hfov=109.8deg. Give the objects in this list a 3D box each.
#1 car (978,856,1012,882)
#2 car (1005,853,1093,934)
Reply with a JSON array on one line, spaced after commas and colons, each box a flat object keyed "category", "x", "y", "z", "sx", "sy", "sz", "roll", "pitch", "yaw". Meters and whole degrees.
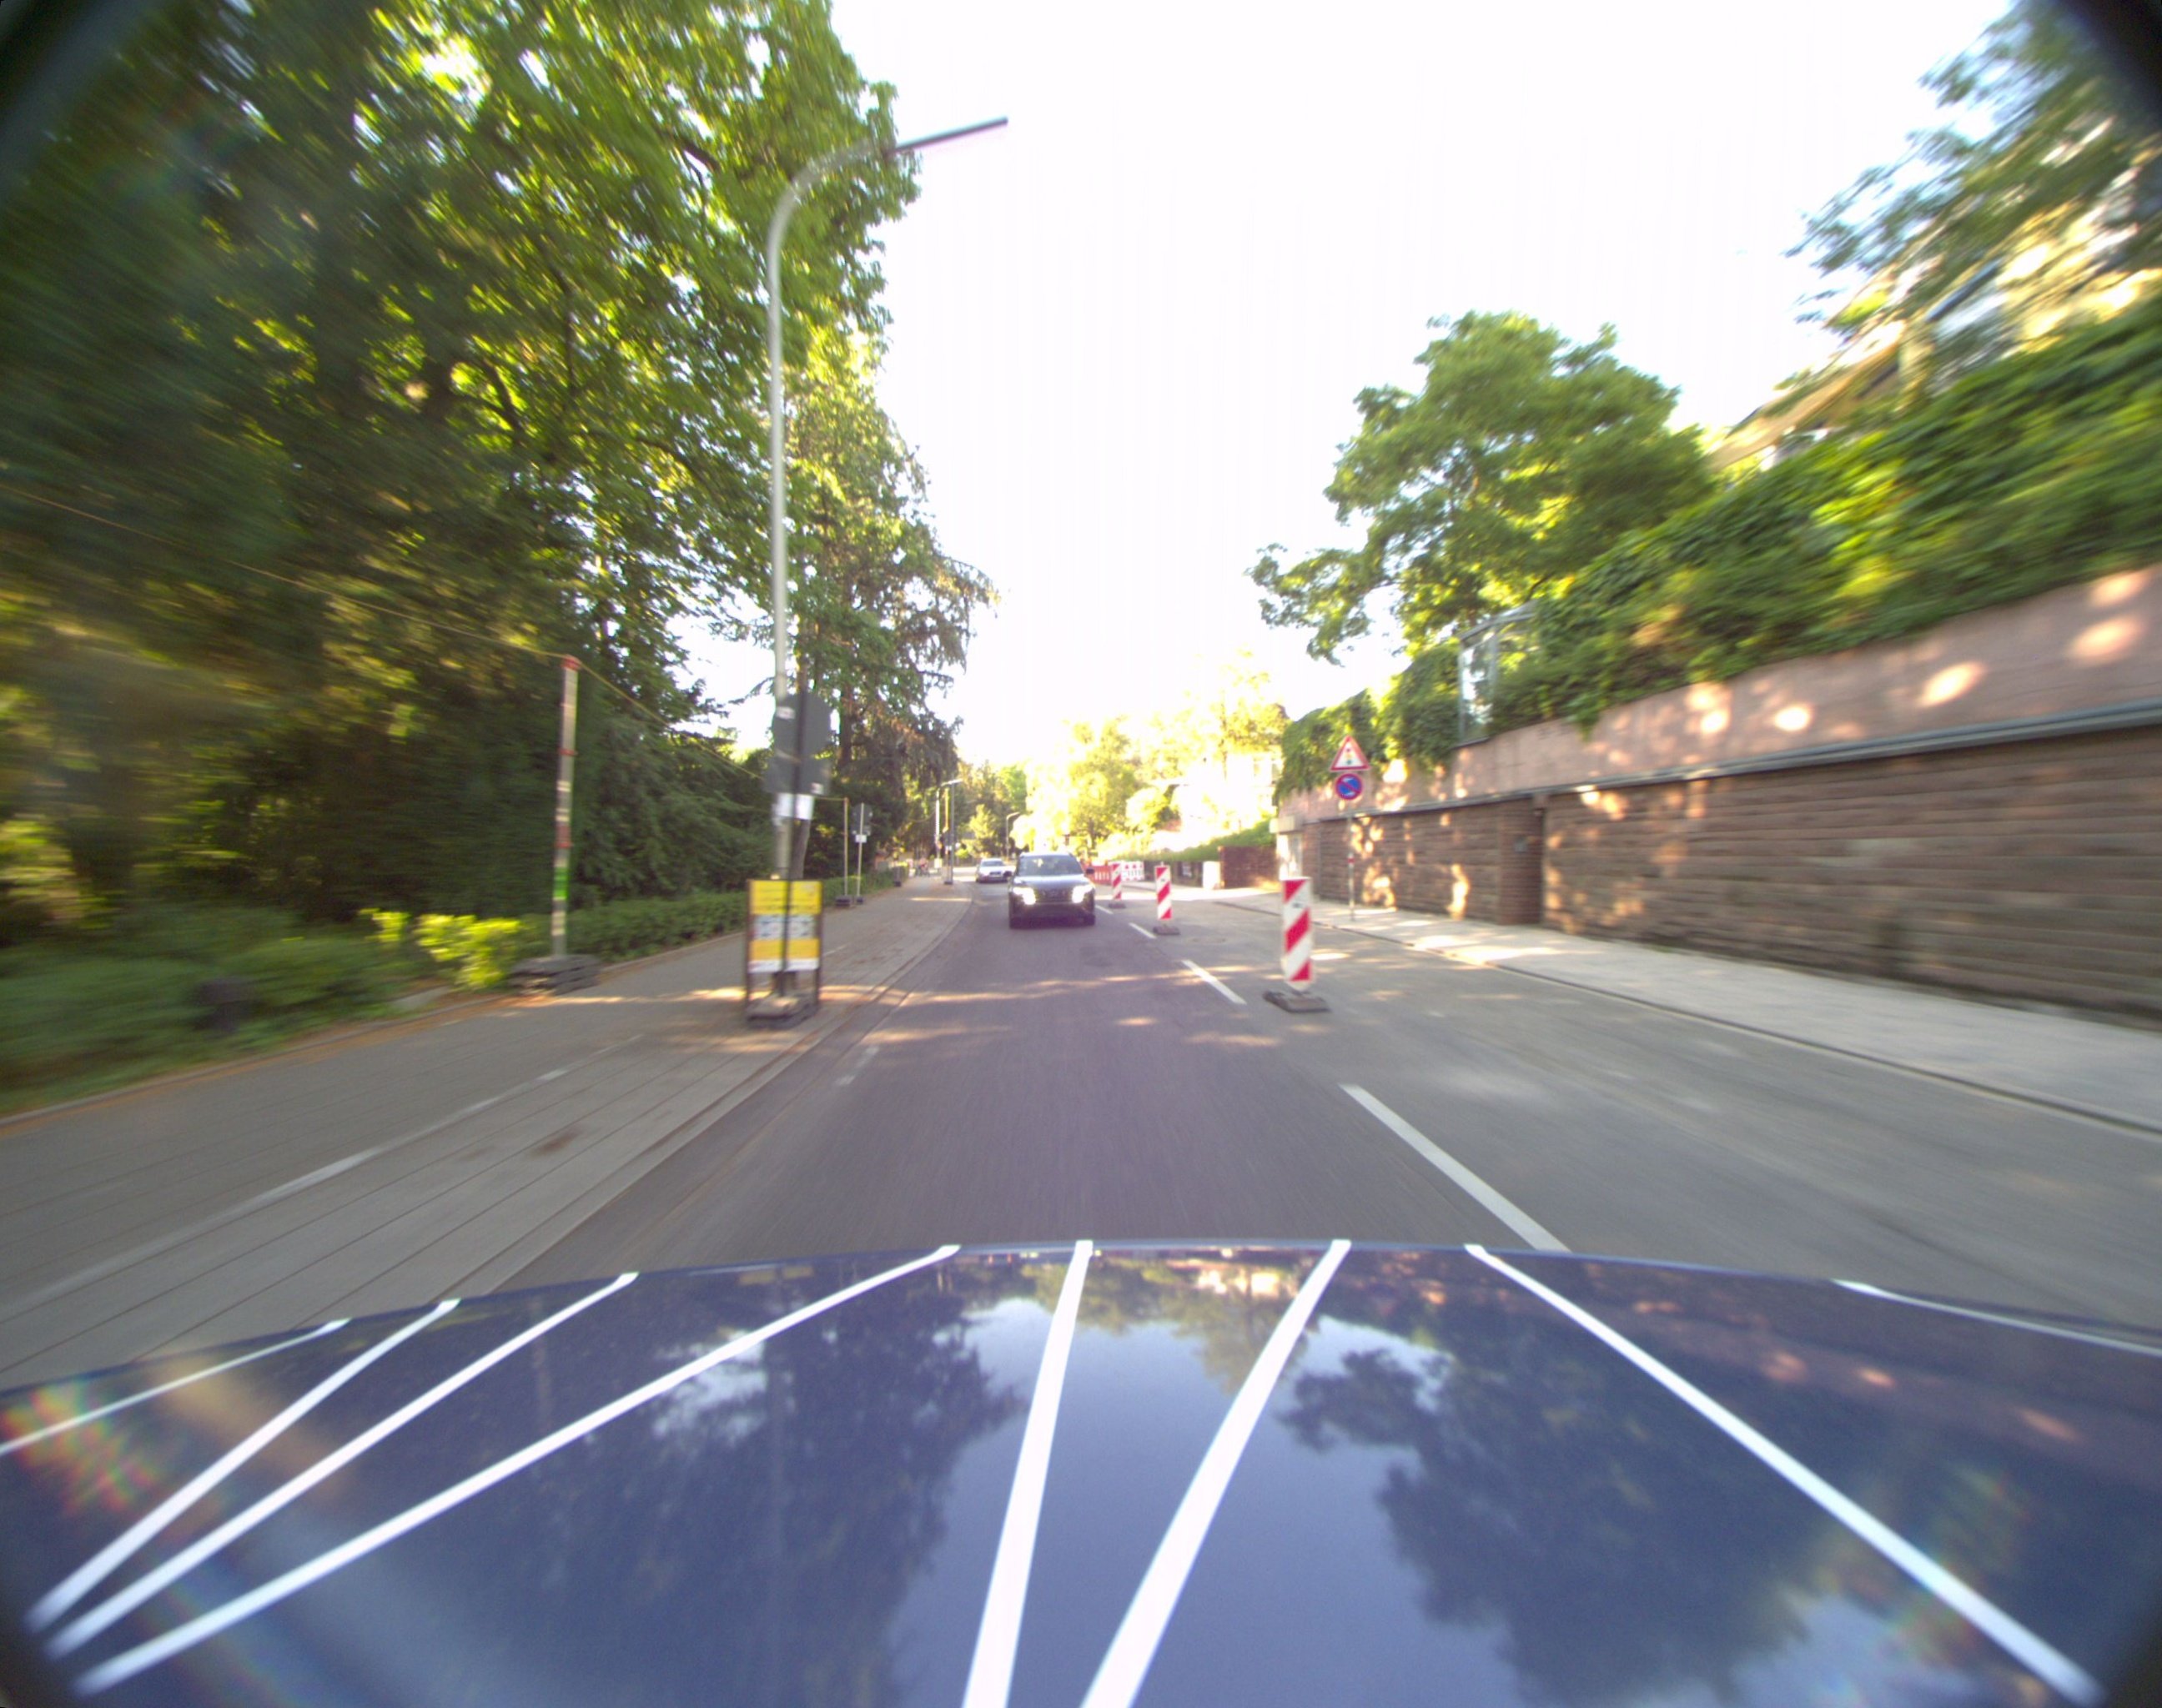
[{"category": "car", "x": -5.239, "y": 0.877, "z": 45.839, "sx": 1.664, "sy": 1.468, "sz": 3.679, "roll": -2, "pitch": 1, "yaw": -12}, {"category": "car", "x": -0.757, "y": 0.828, "z": 17.930, "sx": 1.788, "sy": 1.639, "sz": 4.473, "roll": -1, "pitch": 0, "yaw": -3}]
